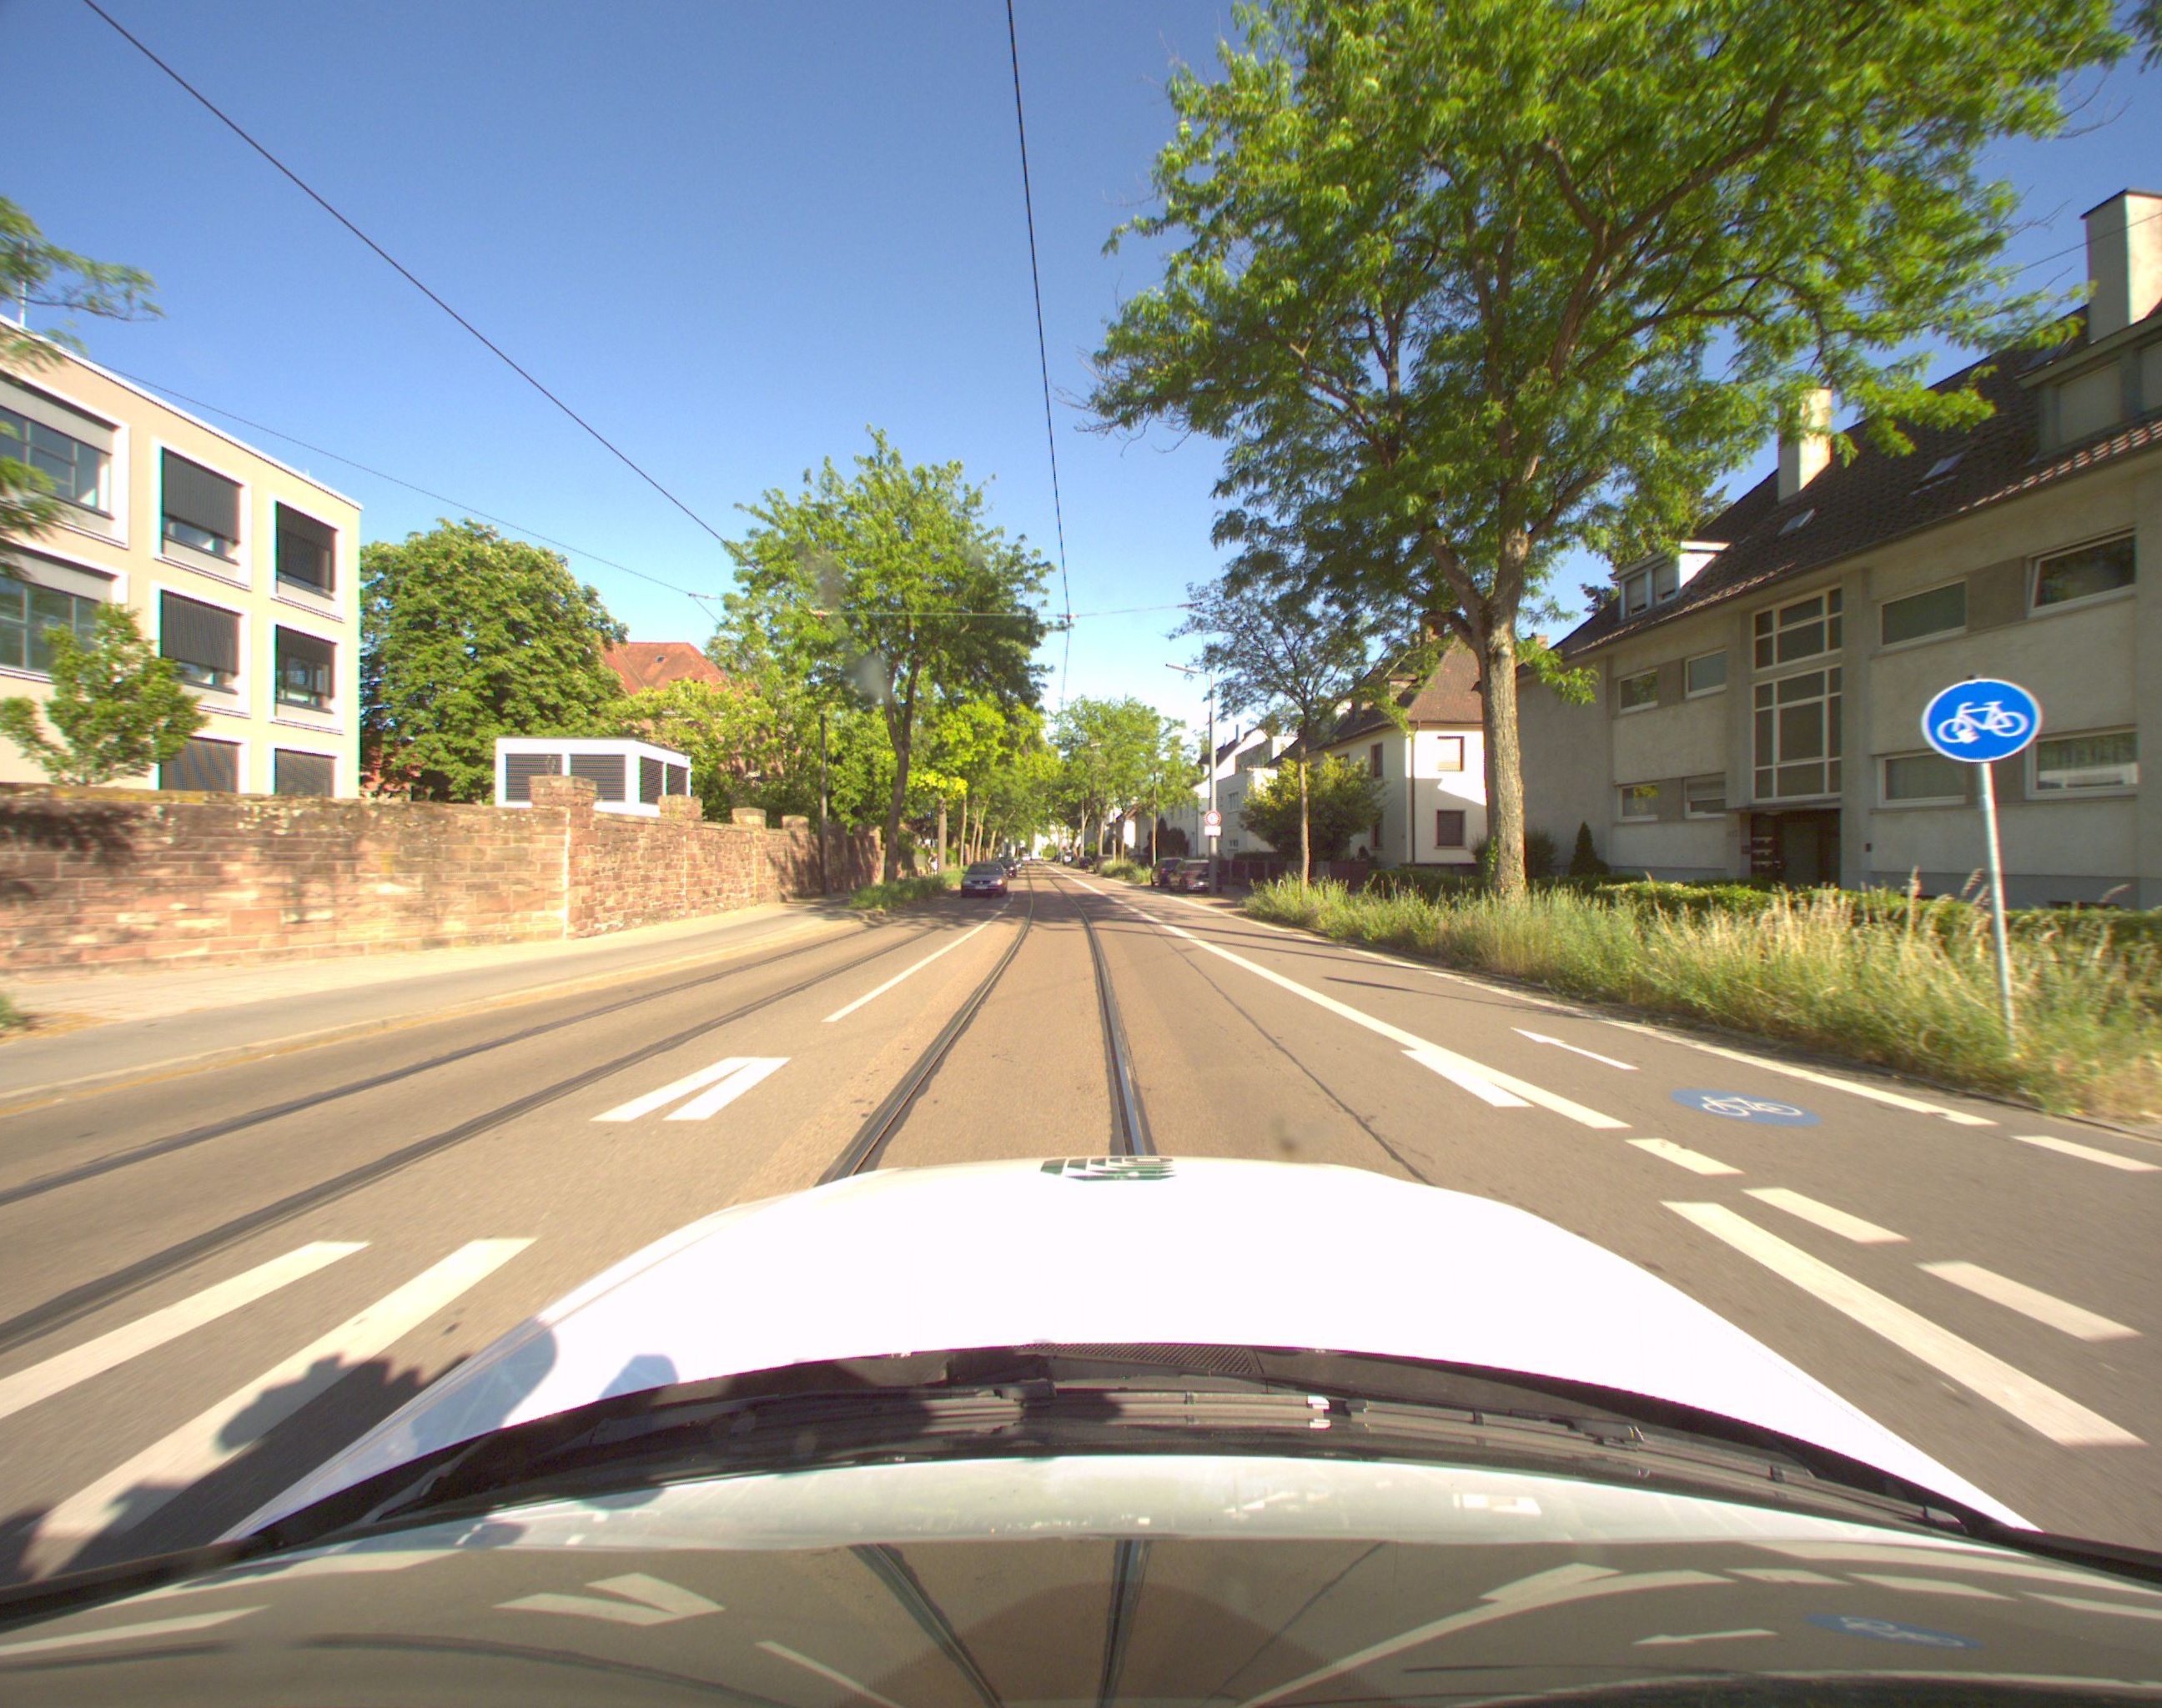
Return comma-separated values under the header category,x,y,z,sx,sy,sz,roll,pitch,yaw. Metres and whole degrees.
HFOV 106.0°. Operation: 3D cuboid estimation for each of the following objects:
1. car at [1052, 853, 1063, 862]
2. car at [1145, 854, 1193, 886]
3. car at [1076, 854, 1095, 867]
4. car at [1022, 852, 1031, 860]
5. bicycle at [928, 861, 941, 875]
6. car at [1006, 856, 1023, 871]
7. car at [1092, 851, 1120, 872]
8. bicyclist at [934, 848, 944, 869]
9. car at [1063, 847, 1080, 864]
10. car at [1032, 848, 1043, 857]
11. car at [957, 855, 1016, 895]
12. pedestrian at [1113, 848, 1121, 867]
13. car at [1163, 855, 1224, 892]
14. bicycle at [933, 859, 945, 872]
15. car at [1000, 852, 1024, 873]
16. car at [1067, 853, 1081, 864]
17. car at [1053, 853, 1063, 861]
category,x,y,z,sx,sy,sz,roll,pitch,yaw
car,-4.660,0.665,163.327,1.999,1.675,4.385,-2,0,-4
car,4.460,0.779,41.599,1.745,1.495,3.990,-1,0,-4
car,0.520,0.786,100.390,1.781,1.448,4.292,-3,0,-6
car,-13.314,0.486,197.897,1.866,1.675,4.159,-1,0,-9
bicycle,-10.502,0.969,58.437,0.709,0.960,2.092,0,0,-3
car,-6.856,0.938,84.376,1.745,1.524,4.064,0,0,-4
car,2.261,0.644,73.891,1.990,1.704,4.469,-3,0,-5
bicyclist,-10.798,0.335,61.916,0.592,1.527,1.060,0,0,-3
car,-1.534,0.243,131.402,2.241,2.654,5.577,-2,0,-4
car,-11.368,-0.389,212.626,1.998,2.458,4.483,-1,0,-17
car,-3.880,0.828,34.119,1.987,1.524,4.578,0,0,-1
pedestrian,3.731,0.340,83.482,0.624,1.870,0.731,-3,0,-5
car,4.859,0.802,35.658,1.745,1.495,4.437,-1,0,-4
bicycle,-10.800,0.841,61.955,0.588,0.960,2.130,0,0,-3
car,-5.252,0.644,61.971,1.745,1.524,4.029,0,0,-4
car,-0.924,0.633,109.918,1.624,1.397,3.640,-3,0,-4
car,-5.052,0.716,180.931,1.996,1.675,4.391,-2,0,0
